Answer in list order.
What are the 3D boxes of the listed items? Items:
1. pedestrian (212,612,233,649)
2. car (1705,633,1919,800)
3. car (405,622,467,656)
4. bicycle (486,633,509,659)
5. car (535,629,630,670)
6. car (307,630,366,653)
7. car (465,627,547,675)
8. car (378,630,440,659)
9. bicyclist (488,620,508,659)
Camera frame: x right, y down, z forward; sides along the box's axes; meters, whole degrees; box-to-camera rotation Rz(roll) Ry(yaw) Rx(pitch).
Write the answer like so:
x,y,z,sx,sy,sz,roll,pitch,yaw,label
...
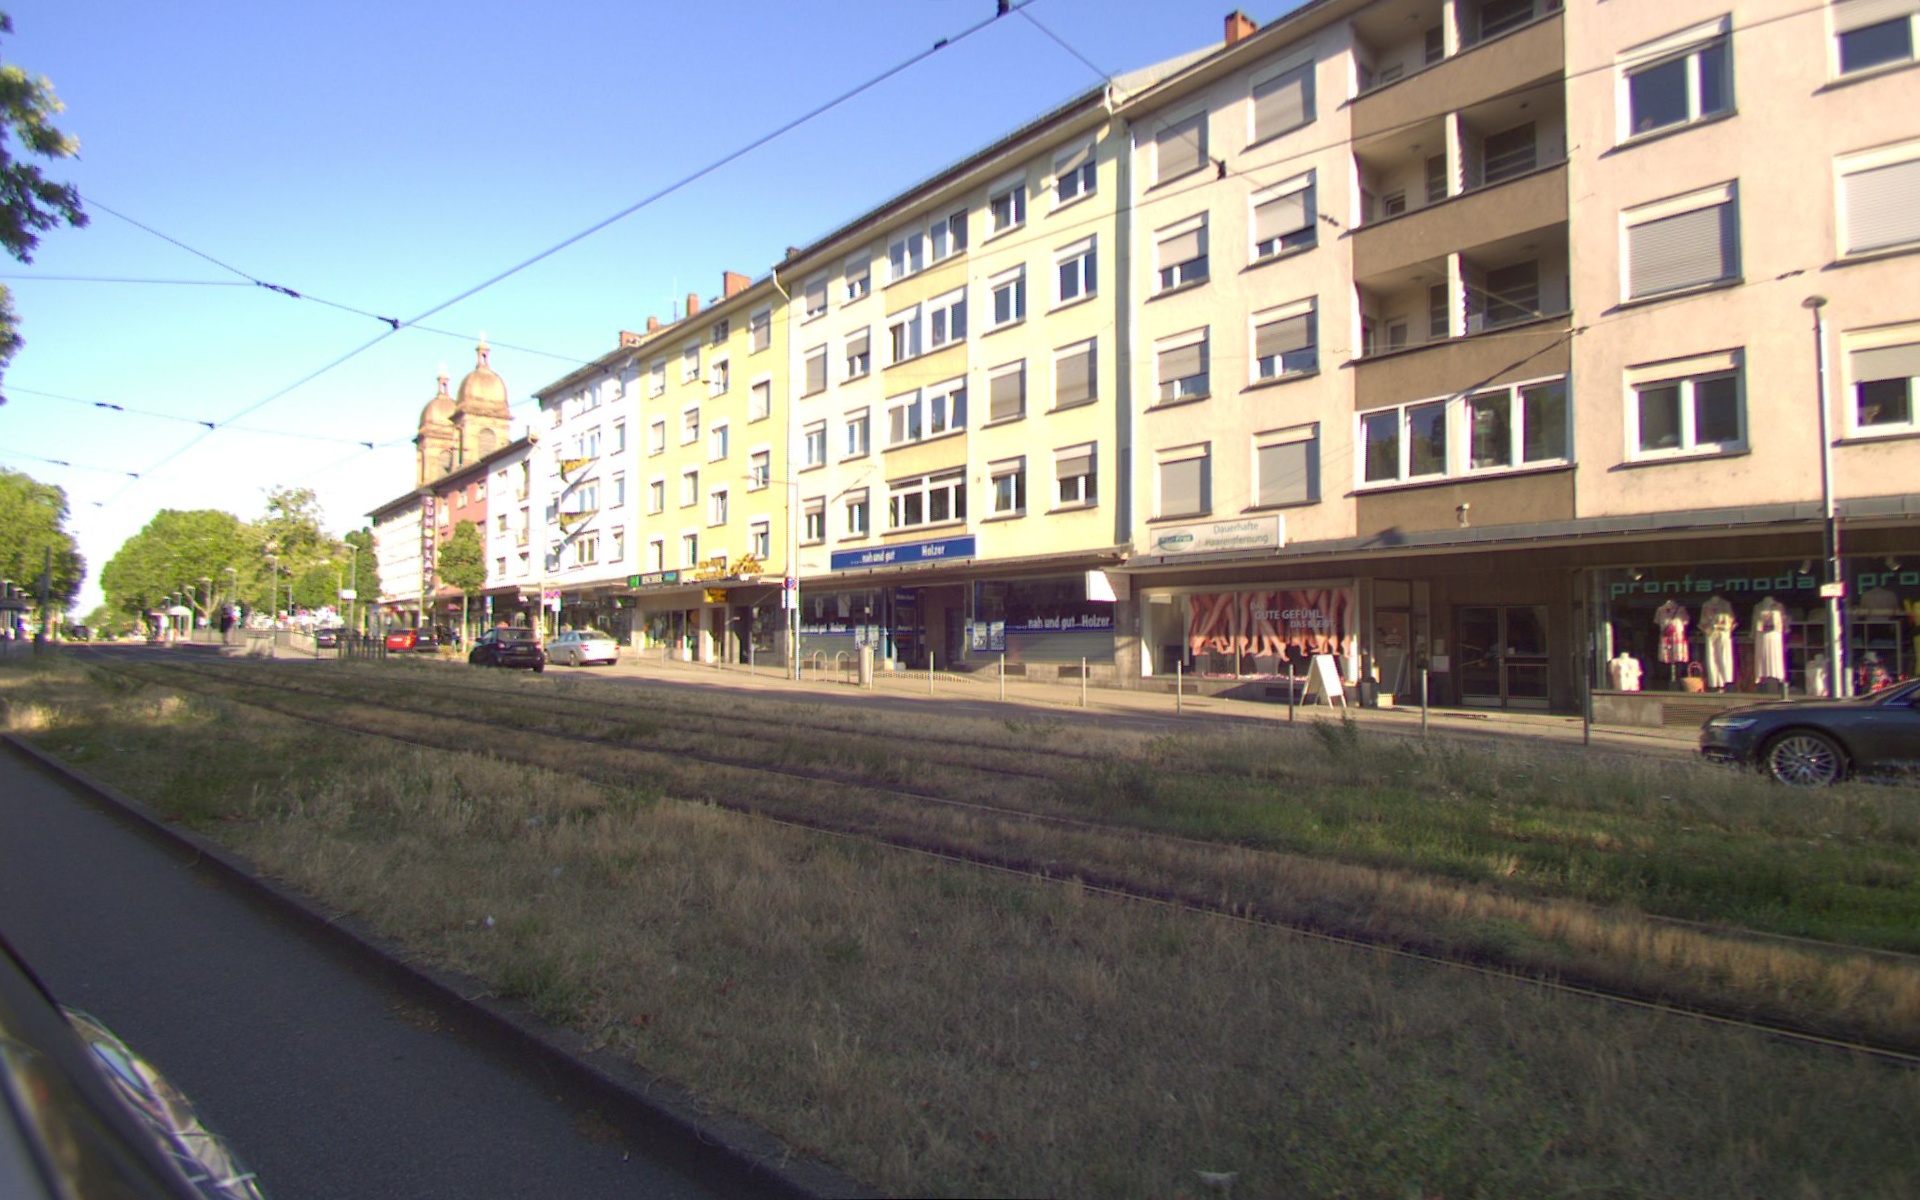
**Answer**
x,y,z,sx,sy,sz,roll,pitch,yaw,label
-37.240,1.542,51.105,0.590,1.863,0.733,-2,-3,42,pedestrian
10.260,1.115,9.796,4.772,1.571,1.973,-1,-2,41,car
-30.542,2.254,59.138,1.836,1.813,3.773,-1,0,-4,car
-24.237,2.389,53.007,0.696,1.167,2.205,-4,4,-33,bicycle
-15.357,1.951,41.060,1.971,1.489,4.413,0,-1,-45,car
-46.851,3.075,76.079,1.845,1.541,3.996,-1,0,3,car
-15.509,1.704,34.501,1.700,1.520,3.482,2,-2,-39,car
-33.095,2.641,60.876,1.836,1.502,3.773,-1,0,-4,car
-24.062,2.045,52.695,0.683,1.900,1.061,-5,4,-33,bicyclist
